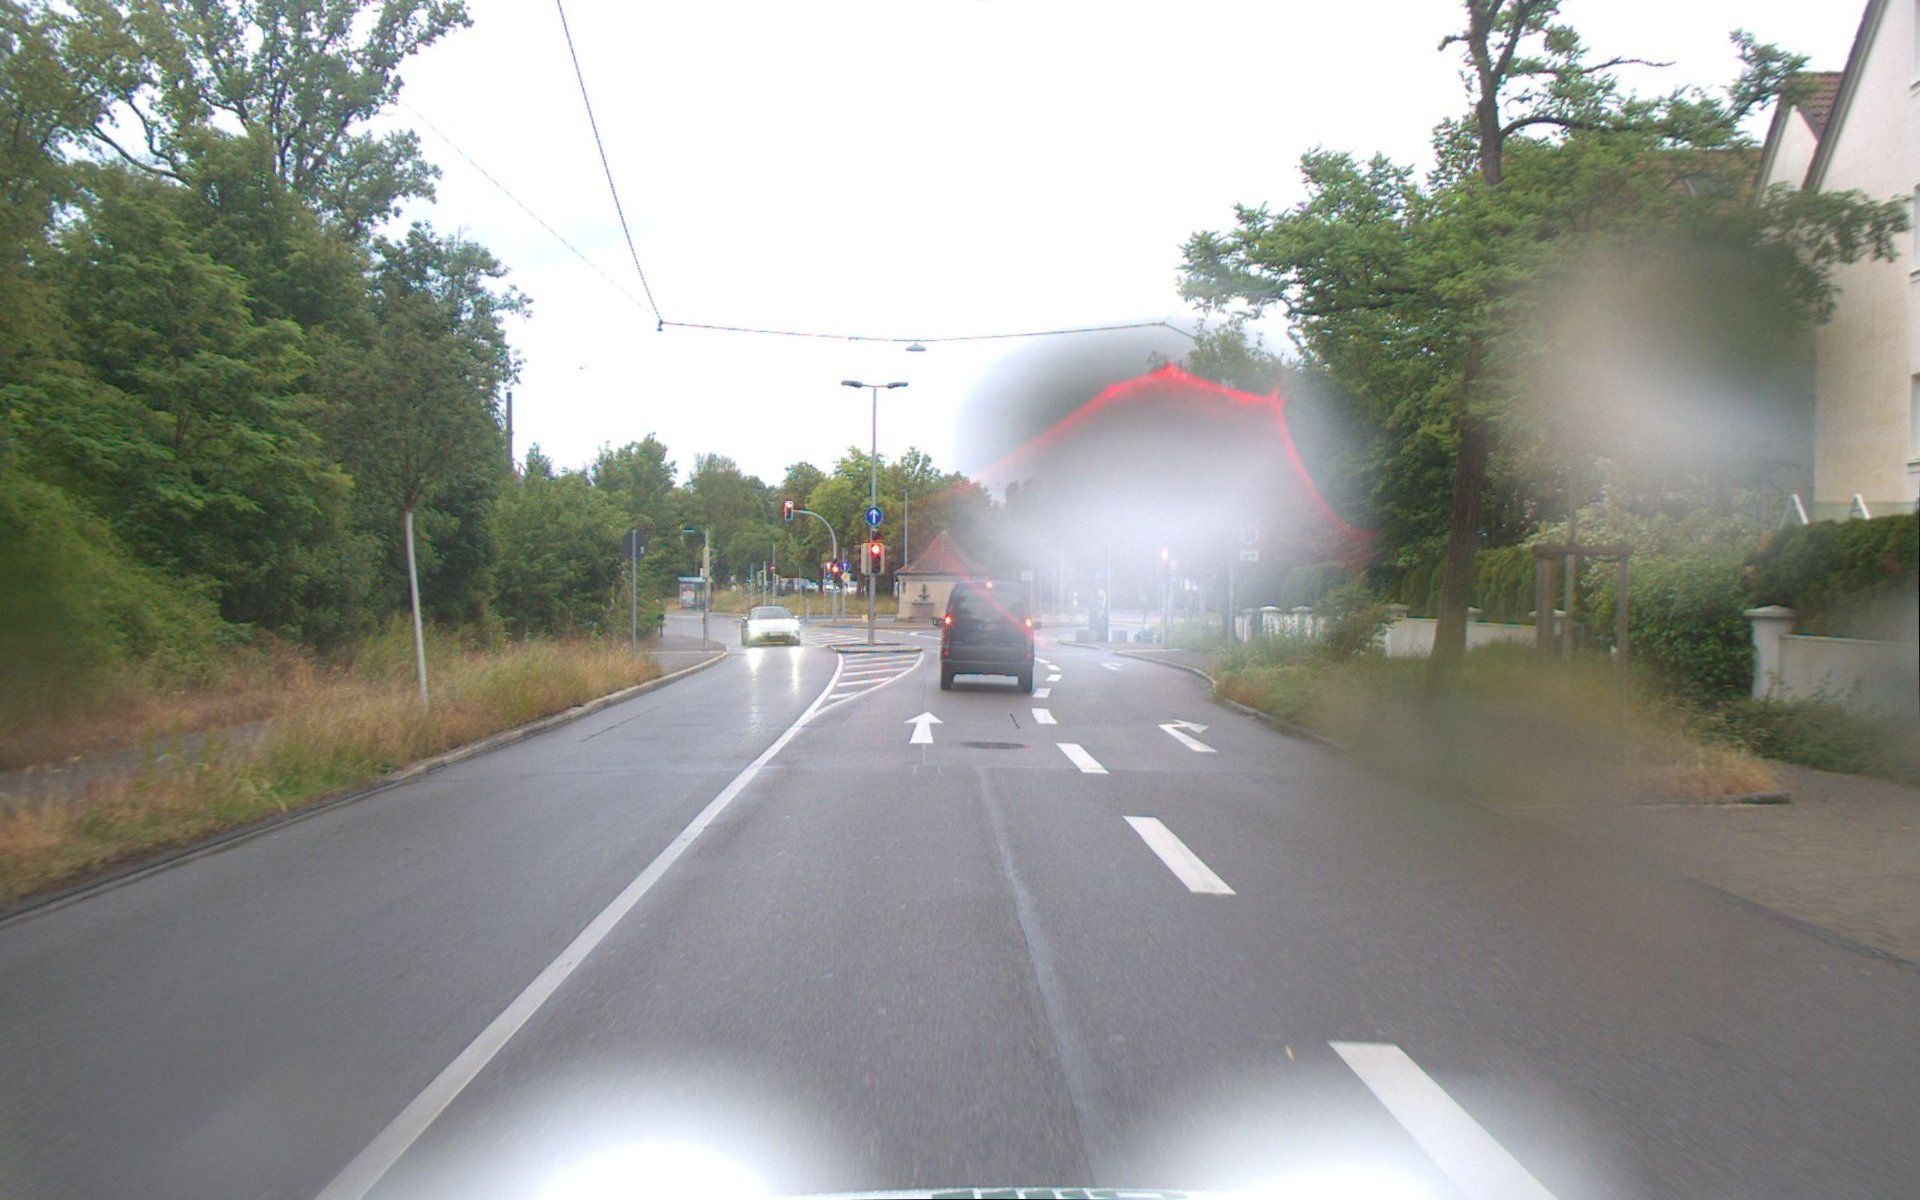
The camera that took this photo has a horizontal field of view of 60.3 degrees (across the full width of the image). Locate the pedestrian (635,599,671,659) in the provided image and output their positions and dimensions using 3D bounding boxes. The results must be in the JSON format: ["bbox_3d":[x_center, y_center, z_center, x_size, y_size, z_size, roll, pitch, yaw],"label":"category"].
[{"bbox_3d":[-10.741,1.025,57.938,1.066,2.049,0.999,1,-1,-4],"label":"pedestrian"}]

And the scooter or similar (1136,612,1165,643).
[{"bbox_3d":[7.685,1.113,66.745,1.125,1.240,0.406,1,-2,0],"label":"scooter or similar"}]

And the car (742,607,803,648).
[{"bbox_3d":[-6.915,0.988,60.785,1.957,1.334,4.349,-2,0,-10],"label":"car"}]

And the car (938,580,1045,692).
[{"bbox_3d":[0.499,0.599,29.386,1.696,1.817,3.999,1,0,-1],"label":"car"}]
